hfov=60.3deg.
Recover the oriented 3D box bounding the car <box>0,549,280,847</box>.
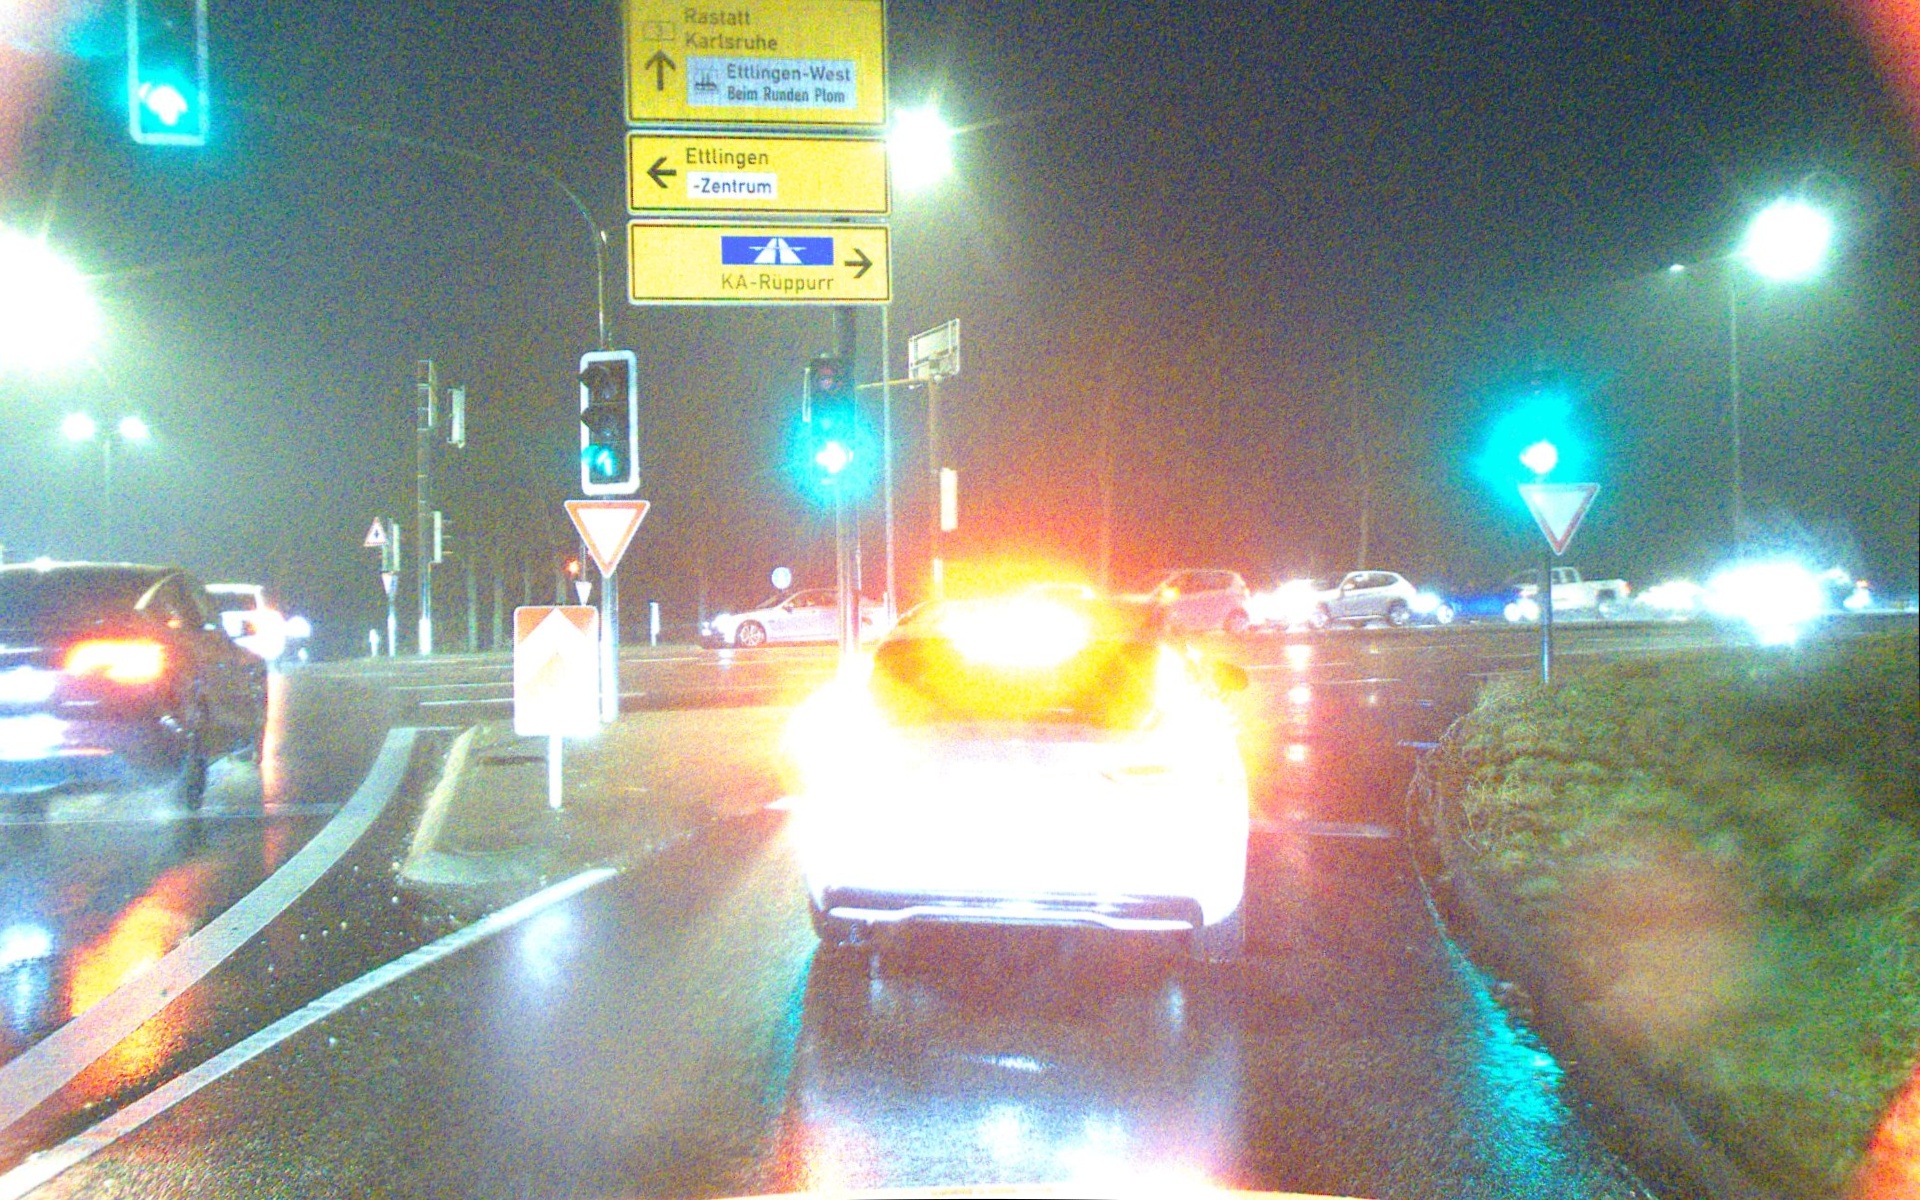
[{"bbox_3d":[-6.005,0.517,11.459,1.798,1.682,4.462,1,1,-15],"label":"car"}]

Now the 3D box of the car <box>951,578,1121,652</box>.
[{"bbox_3d":[2.020,0.410,43.740,4.221,1.880,1.749,1,-1,-28],"label":"car"}]

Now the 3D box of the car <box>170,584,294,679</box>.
[{"bbox_3d":[-12.486,0.516,28.556,1.674,1.489,4.288,0,0,-20],"label":"car"}]

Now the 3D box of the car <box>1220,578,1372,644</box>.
[{"bbox_3d":[9.806,0.330,48.252,4.187,1.830,1.788,1,-1,-28],"label":"car"}]

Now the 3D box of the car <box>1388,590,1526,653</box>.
[{"bbox_3d":[15.331,0.671,51.008,4.064,1.880,1.749,1,-1,-28],"label":"car"}]

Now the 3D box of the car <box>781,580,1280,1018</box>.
[{"bbox_3d":[0.552,0.659,7.928,1.758,1.477,4.272,0,1,9],"label":"car"}]

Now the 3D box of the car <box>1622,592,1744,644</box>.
[{"bbox_3d":[24.974,0.616,57.085,4.064,1.744,1.749,1,-1,-28],"label":"car"}]

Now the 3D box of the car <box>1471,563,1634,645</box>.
[{"bbox_3d":[20.702,0.157,57.742,5.524,2.757,2.237,1,-1,-27],"label":"car"}]

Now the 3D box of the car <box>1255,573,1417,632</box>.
[{"bbox_3d":[9.989,0.075,43.917,3.991,1.513,1.705,1,-1,-24],"label":"car"}]

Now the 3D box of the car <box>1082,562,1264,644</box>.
[{"bbox_3d":[4.891,0.042,38.035,3.841,1.755,1.751,-1,1,-26],"label":"car"}]

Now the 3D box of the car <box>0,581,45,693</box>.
[{"bbox_3d":[-13.505,0.497,21.944,1.629,1.470,3.773,0,0,-17],"label":"car"}]

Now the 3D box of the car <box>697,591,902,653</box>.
[{"bbox_3d":[-3.931,0.544,40.629,4.730,1.452,1.750,1,-1,-27],"label":"car"}]

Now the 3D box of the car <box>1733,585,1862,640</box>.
[{"bbox_3d":[26.848,0.400,53.012,3.918,1.695,1.788,1,-1,-28],"label":"car"}]

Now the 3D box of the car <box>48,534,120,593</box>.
[{"bbox_3d":[-33.541,-1.359,63.411,1.748,2.115,3.979,1,0,-18],"label":"car"}]
